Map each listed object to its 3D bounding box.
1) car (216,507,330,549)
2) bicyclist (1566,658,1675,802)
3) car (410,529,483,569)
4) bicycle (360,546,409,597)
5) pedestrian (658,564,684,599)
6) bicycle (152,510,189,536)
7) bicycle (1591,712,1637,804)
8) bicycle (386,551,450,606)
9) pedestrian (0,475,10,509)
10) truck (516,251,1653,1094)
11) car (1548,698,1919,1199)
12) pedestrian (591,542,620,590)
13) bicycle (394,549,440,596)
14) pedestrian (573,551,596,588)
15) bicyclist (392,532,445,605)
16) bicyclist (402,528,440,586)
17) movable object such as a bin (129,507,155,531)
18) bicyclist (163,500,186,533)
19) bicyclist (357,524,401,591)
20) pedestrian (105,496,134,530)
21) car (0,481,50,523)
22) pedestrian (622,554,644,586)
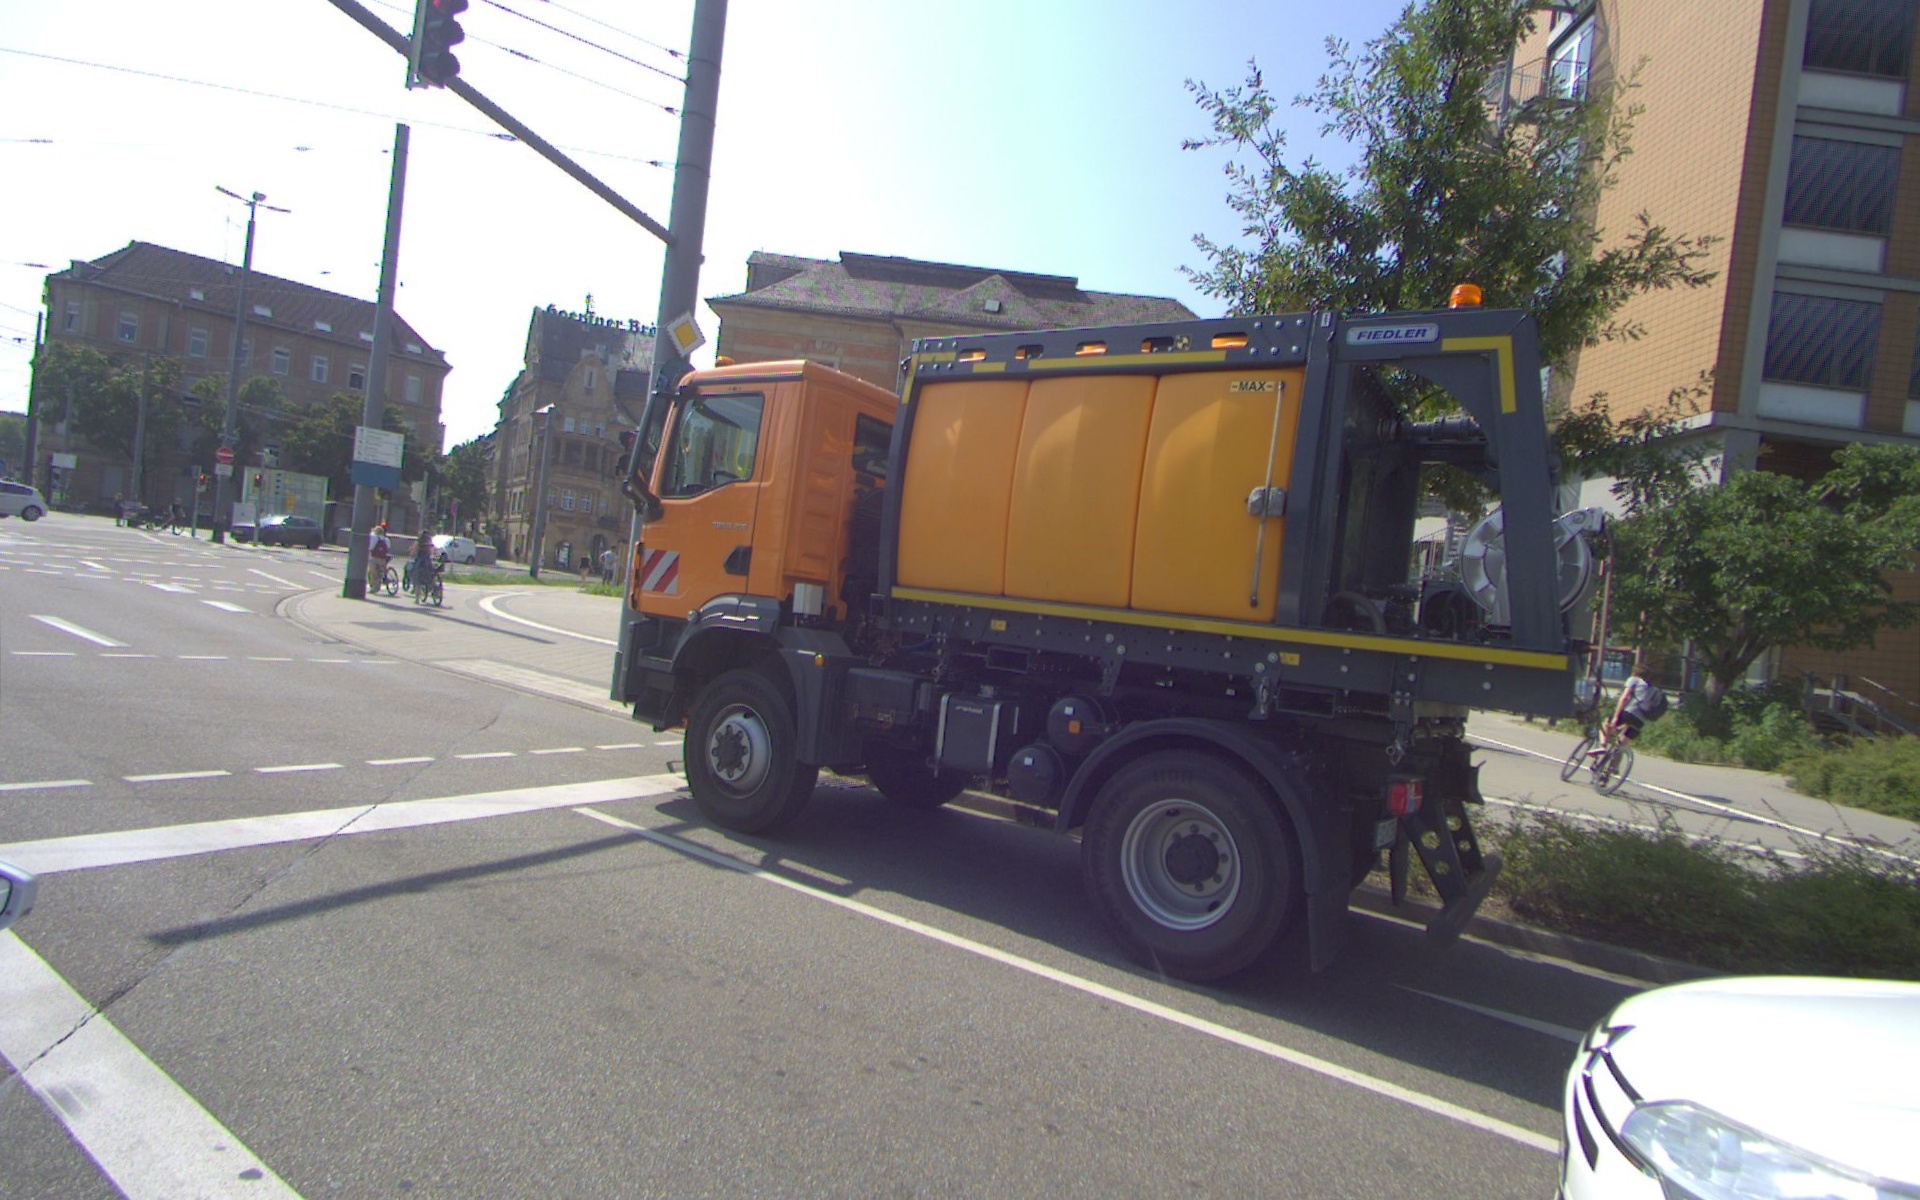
[{"bbox_3d":[-34.977,-3.636,51.374,1.962,1.523,4.628,7,0,12],"label":"car"},{"bbox_3d":[8.330,1.605,12.742,0.889,1.626,0.923,7,1,27],"label":"bicyclist"},{"bbox_3d":[-33.050,-3.229,64.905,1.962,2.038,4.627,7,0,4],"label":"car"},{"bbox_3d":[-13.917,-0.697,24.298,1.632,1.068,0.535,7,1,45],"label":"bicycle"},{"bbox_3d":[-12.539,-0.787,43.687,0.679,1.417,0.767,7,1,7],"label":"pedestrian"},{"bbox_3d":[-39.791,-3.869,50.683,1.622,1.068,0.471,7,1,12],"label":"bicycle"},{"bbox_3d":[8.336,1.982,12.859,0.352,0.992,1.778,7,0,32],"label":"bicycle"},{"bbox_3d":[-12.316,-0.493,22.826,1.795,1.068,0.492,7,1,37],"label":"bicycle"},{"bbox_3d":[-48.016,-5.429,50.159,0.562,1.623,0.701,7,1,24],"label":"pedestrian"},{"bbox_3d":[0.293,0.054,6.693,6.751,3.173,2.493,7,0,34],"label":"truck"},{"bbox_3d":[3.299,1.176,1.042,4.533,1.446,1.770,7,0,32],"label":"car"},{"bbox_3d":[-13.645,-1.290,38.723,0.808,1.746,0.546,6,1,-9],"label":"pedestrian"},{"bbox_3d":[-14.365,-0.735,26.577,1.632,1.068,0.535,7,1,45],"label":"bicycle"},{"bbox_3d":[-17.204,-1.398,46.057,0.727,1.595,0.787,6,1,-14],"label":"pedestrian"},{"bbox_3d":[-12.268,-0.705,22.790,0.653,1.537,0.734,7,1,36],"label":"bicyclist"},{"bbox_3d":[-14.108,-1.119,26.327,0.882,1.410,0.529,7,1,44],"label":"bicyclist"},{"bbox_3d":[-41.700,-4.105,51.317,0.502,1.091,0.815,7,1,21],"label":"movable object such as a bin"},{"bbox_3d":[-39.564,-4.207,50.651,0.511,1.548,0.613,7,1,8],"label":"bicyclist"},{"bbox_3d":[-14.140,-1.037,24.476,0.702,1.537,0.626,7,1,44],"label":"bicyclist"},{"bbox_3d":[-42.371,-4.398,50.718,0.519,1.564,0.852,7,1,24],"label":"pedestrian"},{"bbox_3d":[-37.384,-3.912,37.956,1.742,1.433,4.204,7,0,12],"label":"car"},{"bbox_3d":[-13.523,-1.255,41.580,0.659,1.229,0.523,6,1,-30],"label":"pedestrian"}]
